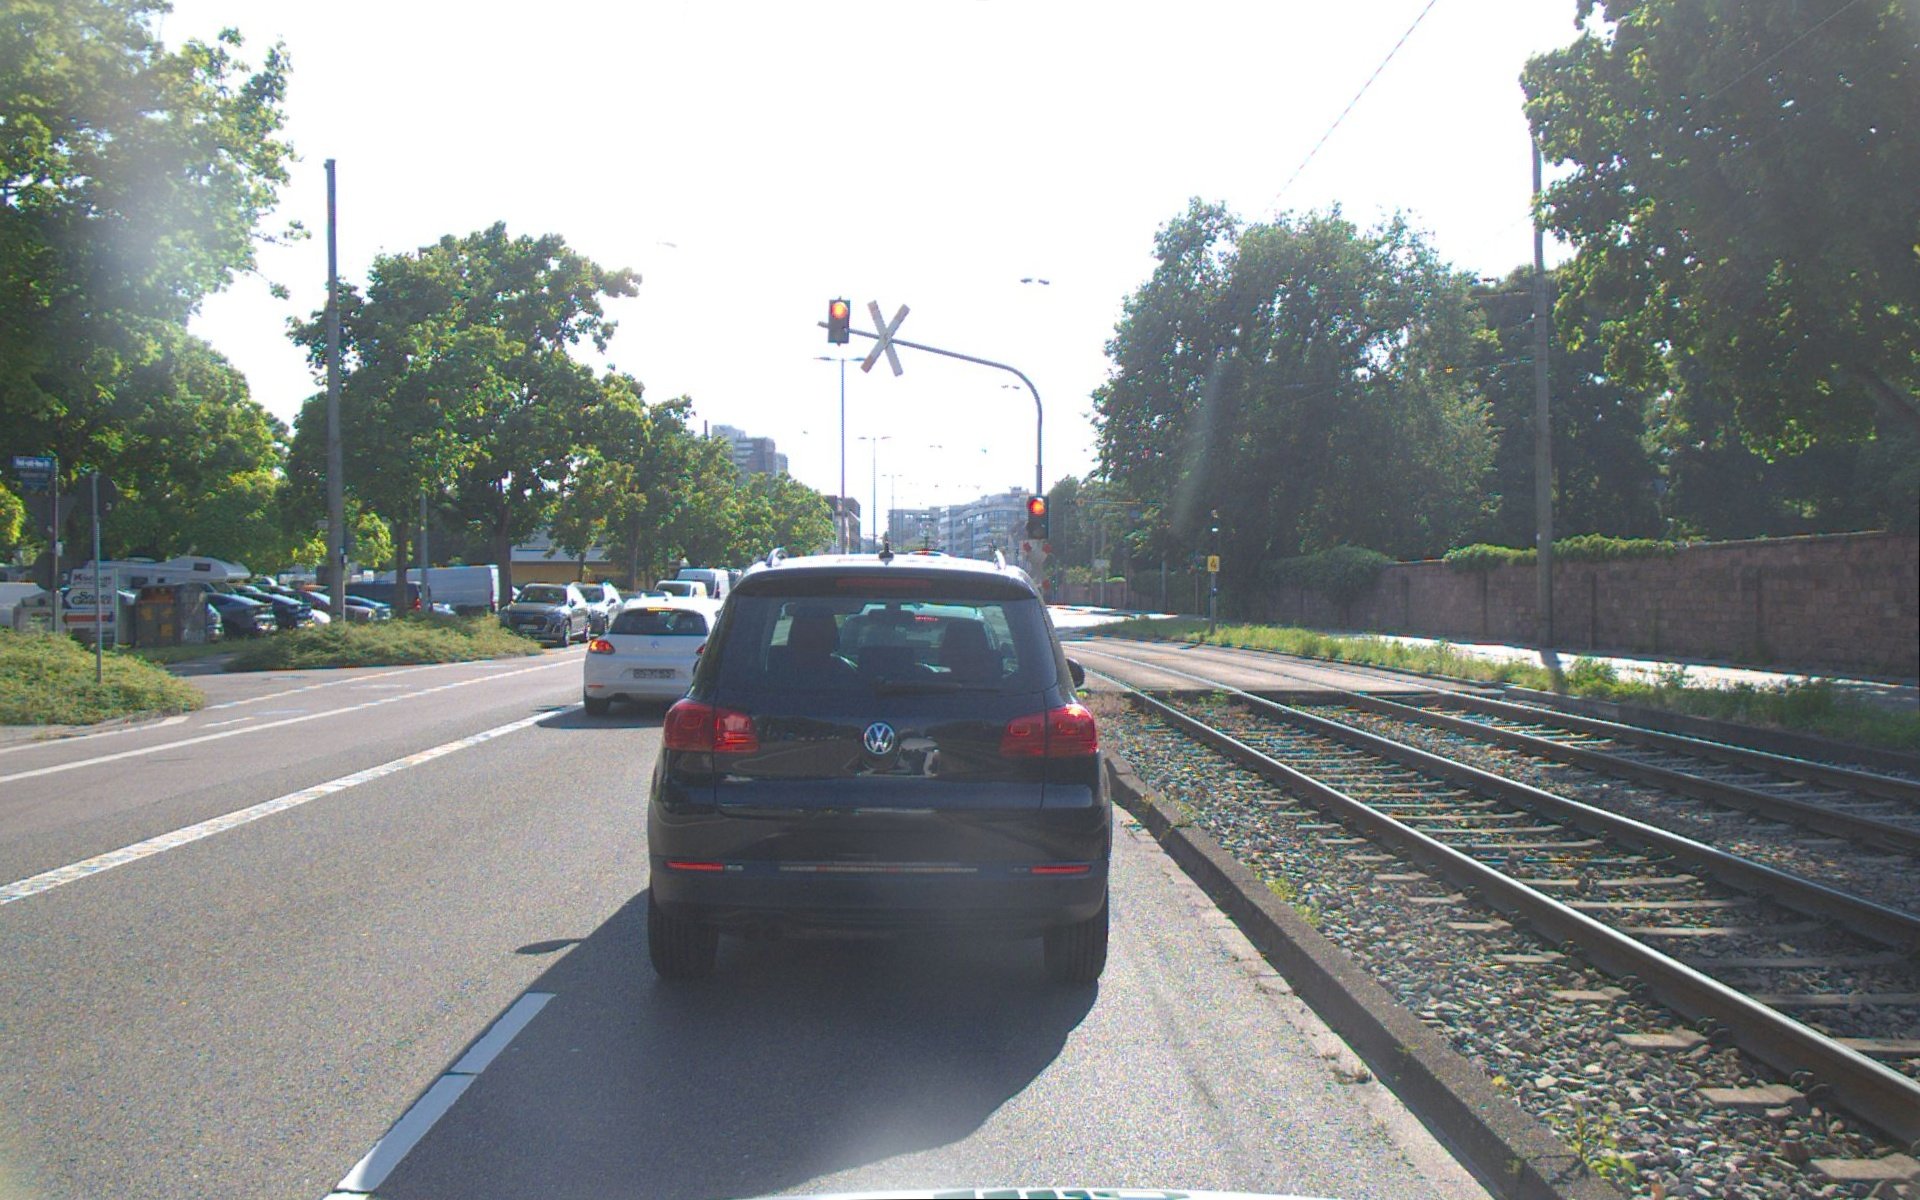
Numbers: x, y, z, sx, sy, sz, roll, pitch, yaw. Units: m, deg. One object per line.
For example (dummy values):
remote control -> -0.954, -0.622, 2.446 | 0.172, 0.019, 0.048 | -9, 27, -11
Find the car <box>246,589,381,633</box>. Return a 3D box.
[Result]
car -> -21.855, 0.370, 56.037 | 3.908, 1.422, 1.736 | 0, 0, -4

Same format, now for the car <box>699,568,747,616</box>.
car -> -11.888, -0.410, 83.290 | 1.696, 2.308, 4.645 | 0, 0, 0

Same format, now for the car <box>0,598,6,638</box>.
car -> -35.028, 0.637, 56.542 | 3.903, 1.384, 1.628 | 0, 0, 4

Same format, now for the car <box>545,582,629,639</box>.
car -> -11.761, 0.294, 52.386 | 1.696, 1.724, 4.000 | 0, 1, 0

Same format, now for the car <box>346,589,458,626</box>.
car -> -22.207, 0.295, 65.914 | 3.908, 1.422, 1.736 | 0, 0, -4

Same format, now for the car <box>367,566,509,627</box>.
car -> -21.859, -0.147, 69.390 | 5.266, 2.466, 2.087 | 0, 0, -1

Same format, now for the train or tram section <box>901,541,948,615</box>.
train or tram section -> -1.828, -1.141, 86.461 | 2.279, 3.632, 8.898 | 0, 0, -1

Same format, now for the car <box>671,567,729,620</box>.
car -> -11.973, -0.318, 76.459 | 1.825, 2.388, 4.985 | 0, 0, 0

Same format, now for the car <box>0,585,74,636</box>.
car -> -33.947, 0.377, 58.838 | 3.912, 1.758, 1.624 | 0, 0, -8

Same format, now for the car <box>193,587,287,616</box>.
car -> -35.726, 0.067, 82.148 | 3.908, 1.422, 1.736 | 0, 0, -4

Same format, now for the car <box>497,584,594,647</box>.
car -> -11.657, 0.407, 46.763 | 1.696, 1.686, 4.000 | 0, 0, 0

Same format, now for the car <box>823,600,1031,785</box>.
car -> -0.286, 0.729, 15.078 | 1.635, 1.411, 3.999 | 0, 0, -1

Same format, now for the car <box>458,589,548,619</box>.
car -> -22.161, 0.186, 80.307 | 3.908, 1.422, 1.736 | 0, 0, -4

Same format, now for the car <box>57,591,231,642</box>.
car -> -22.410, 0.445, 45.518 | 3.908, 1.330, 1.736 | 0, 0, -4

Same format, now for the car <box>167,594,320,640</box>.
car -> -21.847, 0.503, 50.538 | 3.908, 1.330, 1.736 | 0, 0, -4

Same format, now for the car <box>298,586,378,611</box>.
car -> -35.349, -0.089, 94.072 | 3.908, 1.422, 1.736 | 0, 0, -4

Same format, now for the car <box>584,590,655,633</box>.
car -> -12.010, 0.390, 58.583 | 1.696, 1.413, 3.735 | 0, 1, 0

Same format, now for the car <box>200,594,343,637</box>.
car -> -22.331, 0.479, 53.730 | 3.908, 1.330, 1.736 | 0, 0, -4

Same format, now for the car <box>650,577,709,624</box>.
car -> -11.791, 0.007, 69.789 | 1.696, 1.892, 4.489 | 0, 0, 0

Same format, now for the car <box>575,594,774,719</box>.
car -> -3.440, 0.626, 20.627 | 1.827, 1.371, 3.999 | 0, 0, -1

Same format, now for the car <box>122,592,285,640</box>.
car -> -21.887, 0.445, 47.943 | 3.908, 1.330, 1.736 | 0, 0, -4

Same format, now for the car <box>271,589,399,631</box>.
car -> -22.240, 0.347, 58.994 | 3.908, 1.422, 1.736 | 0, 0, -4

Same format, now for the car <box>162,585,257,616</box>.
car -> -34.913, 0.008, 76.992 | 3.591, 1.422, 1.736 | 0, 0, -4

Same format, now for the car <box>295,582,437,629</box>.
car -> -22.002, 0.203, 61.387 | 4.526, 1.680, 2.048 | 0, 0, -3

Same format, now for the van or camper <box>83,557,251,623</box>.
van or camper -> -35.327, -0.444, 73.815 | 6.332, 2.918, 2.307 | 0, 0, -1

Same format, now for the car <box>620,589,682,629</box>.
car -> -12.007, 0.325, 64.466 | 1.696, 1.475, 3.735 | 0, 1, 0

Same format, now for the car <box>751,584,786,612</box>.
car -> -12.272, -0.122, 106.158 | 1.696, 1.724, 4.000 | 0, 1, 0

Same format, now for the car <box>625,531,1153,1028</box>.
car -> -0.268, 0.609, 7.632 | 1.774, 1.673, 3.999 | 1, 0, -1
